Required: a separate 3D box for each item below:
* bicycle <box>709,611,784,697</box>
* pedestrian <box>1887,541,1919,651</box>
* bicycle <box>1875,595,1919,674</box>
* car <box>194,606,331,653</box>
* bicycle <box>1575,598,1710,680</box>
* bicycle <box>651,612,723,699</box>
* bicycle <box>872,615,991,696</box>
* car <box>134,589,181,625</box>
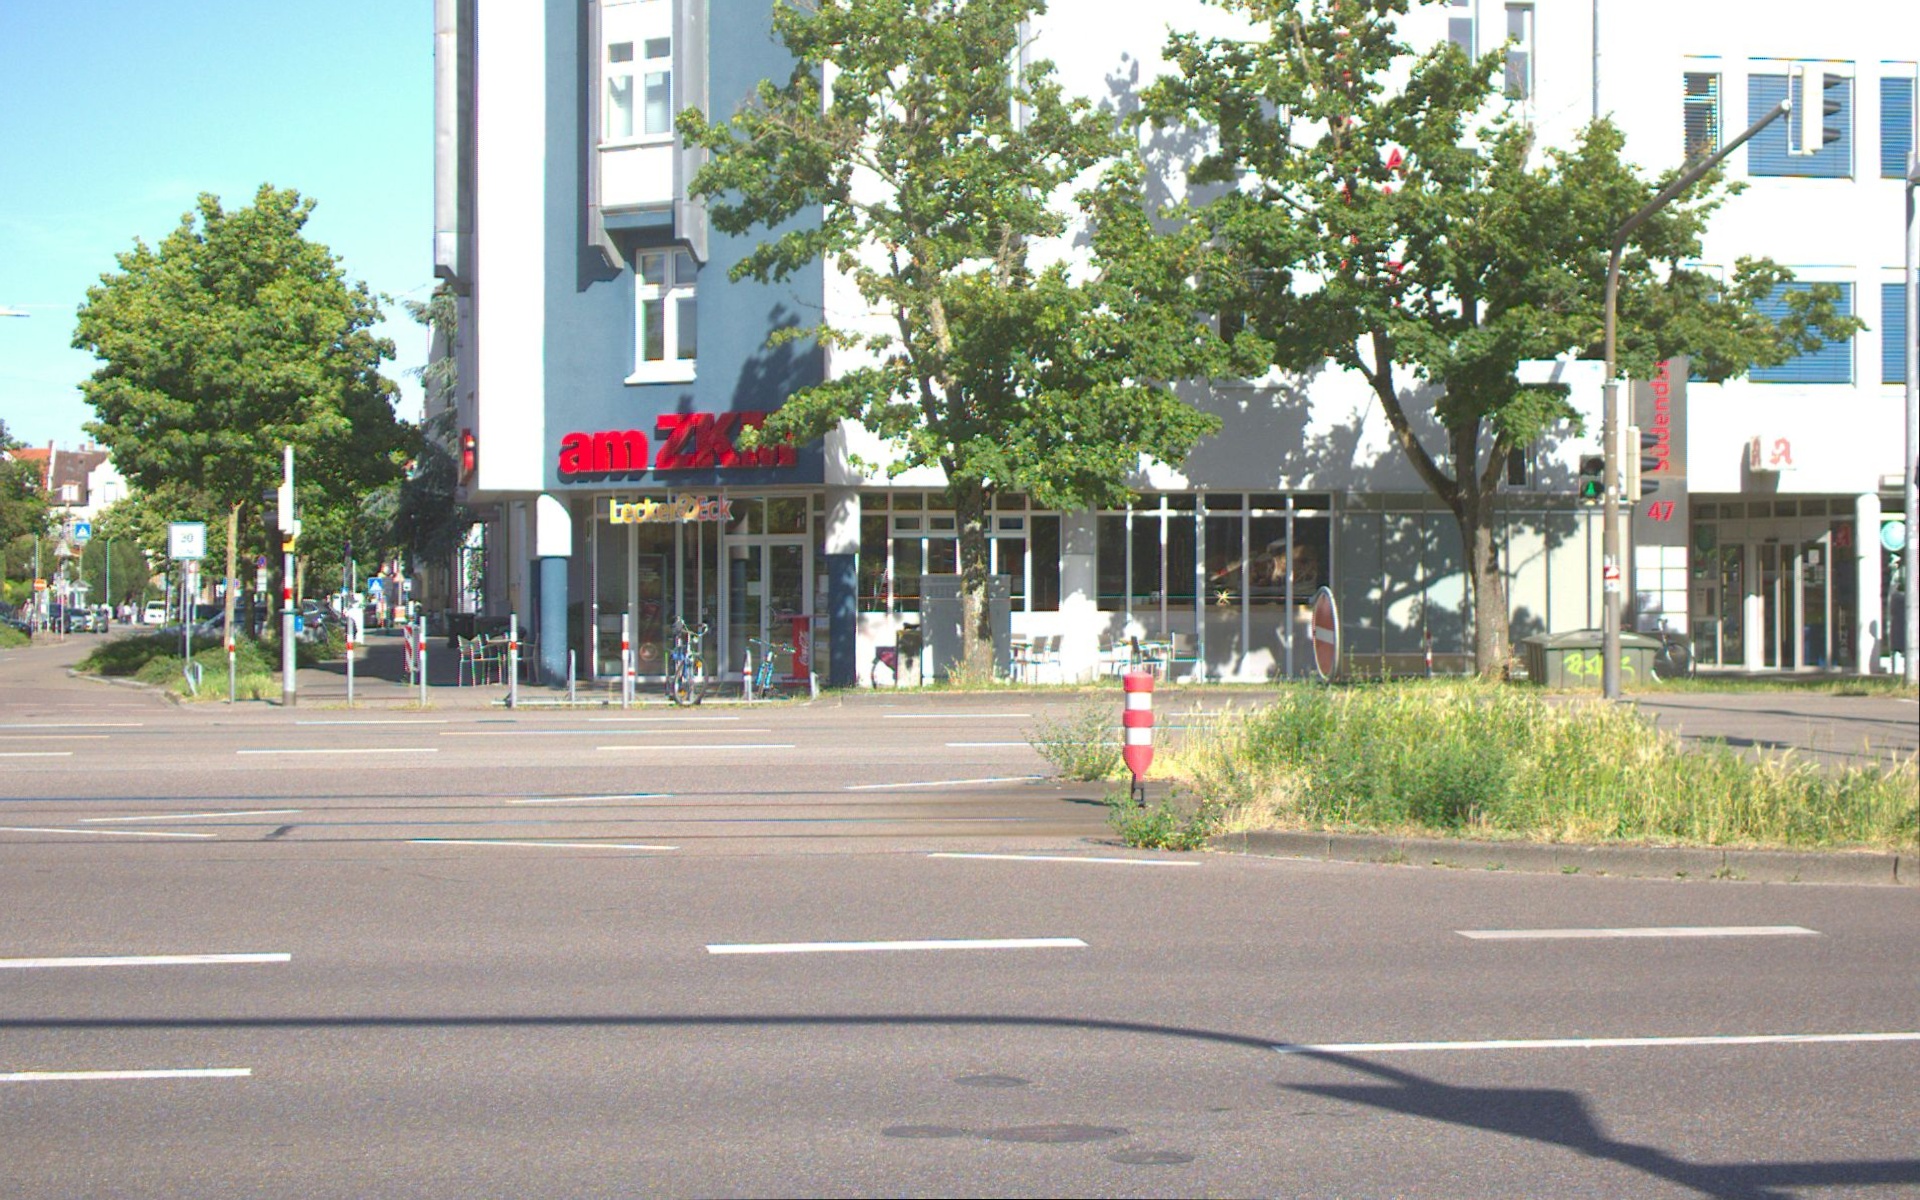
[{"bbox_3d":[-2.624,0.650,42.124,0.471,1.024,1.516,0,0,-21],"label":"bicycle"},{"bbox_3d":[15.124,-0.062,53.812,0.989,1.717,0.654,0,0,-10],"label":"pedestrian"},{"bbox_3d":[14.510,0.509,51.943,0.560,1.178,1.870,0,0,-11],"label":"bicycle"},{"bbox_3d":[-18.873,0.807,93.020,3.566,1.219,1.731,1,-1,-12],"label":"car"},{"bbox_3d":[9.935,0.560,50.052,1.863,1.178,0.562,0,0,-13],"label":"bicycle"},{"bbox_3d":[-3.305,0.660,41.493,0.471,1.024,1.516,0,0,-20],"label":"bicycle"},{"bbox_3d":[-0.359,0.707,44.232,1.511,1.024,0.473,0,0,2],"label":"bicycle"},{"bbox_3d":[-41.262,0.377,176.836,1.993,1.750,4.521,1,-1,-9],"label":"car"}]
